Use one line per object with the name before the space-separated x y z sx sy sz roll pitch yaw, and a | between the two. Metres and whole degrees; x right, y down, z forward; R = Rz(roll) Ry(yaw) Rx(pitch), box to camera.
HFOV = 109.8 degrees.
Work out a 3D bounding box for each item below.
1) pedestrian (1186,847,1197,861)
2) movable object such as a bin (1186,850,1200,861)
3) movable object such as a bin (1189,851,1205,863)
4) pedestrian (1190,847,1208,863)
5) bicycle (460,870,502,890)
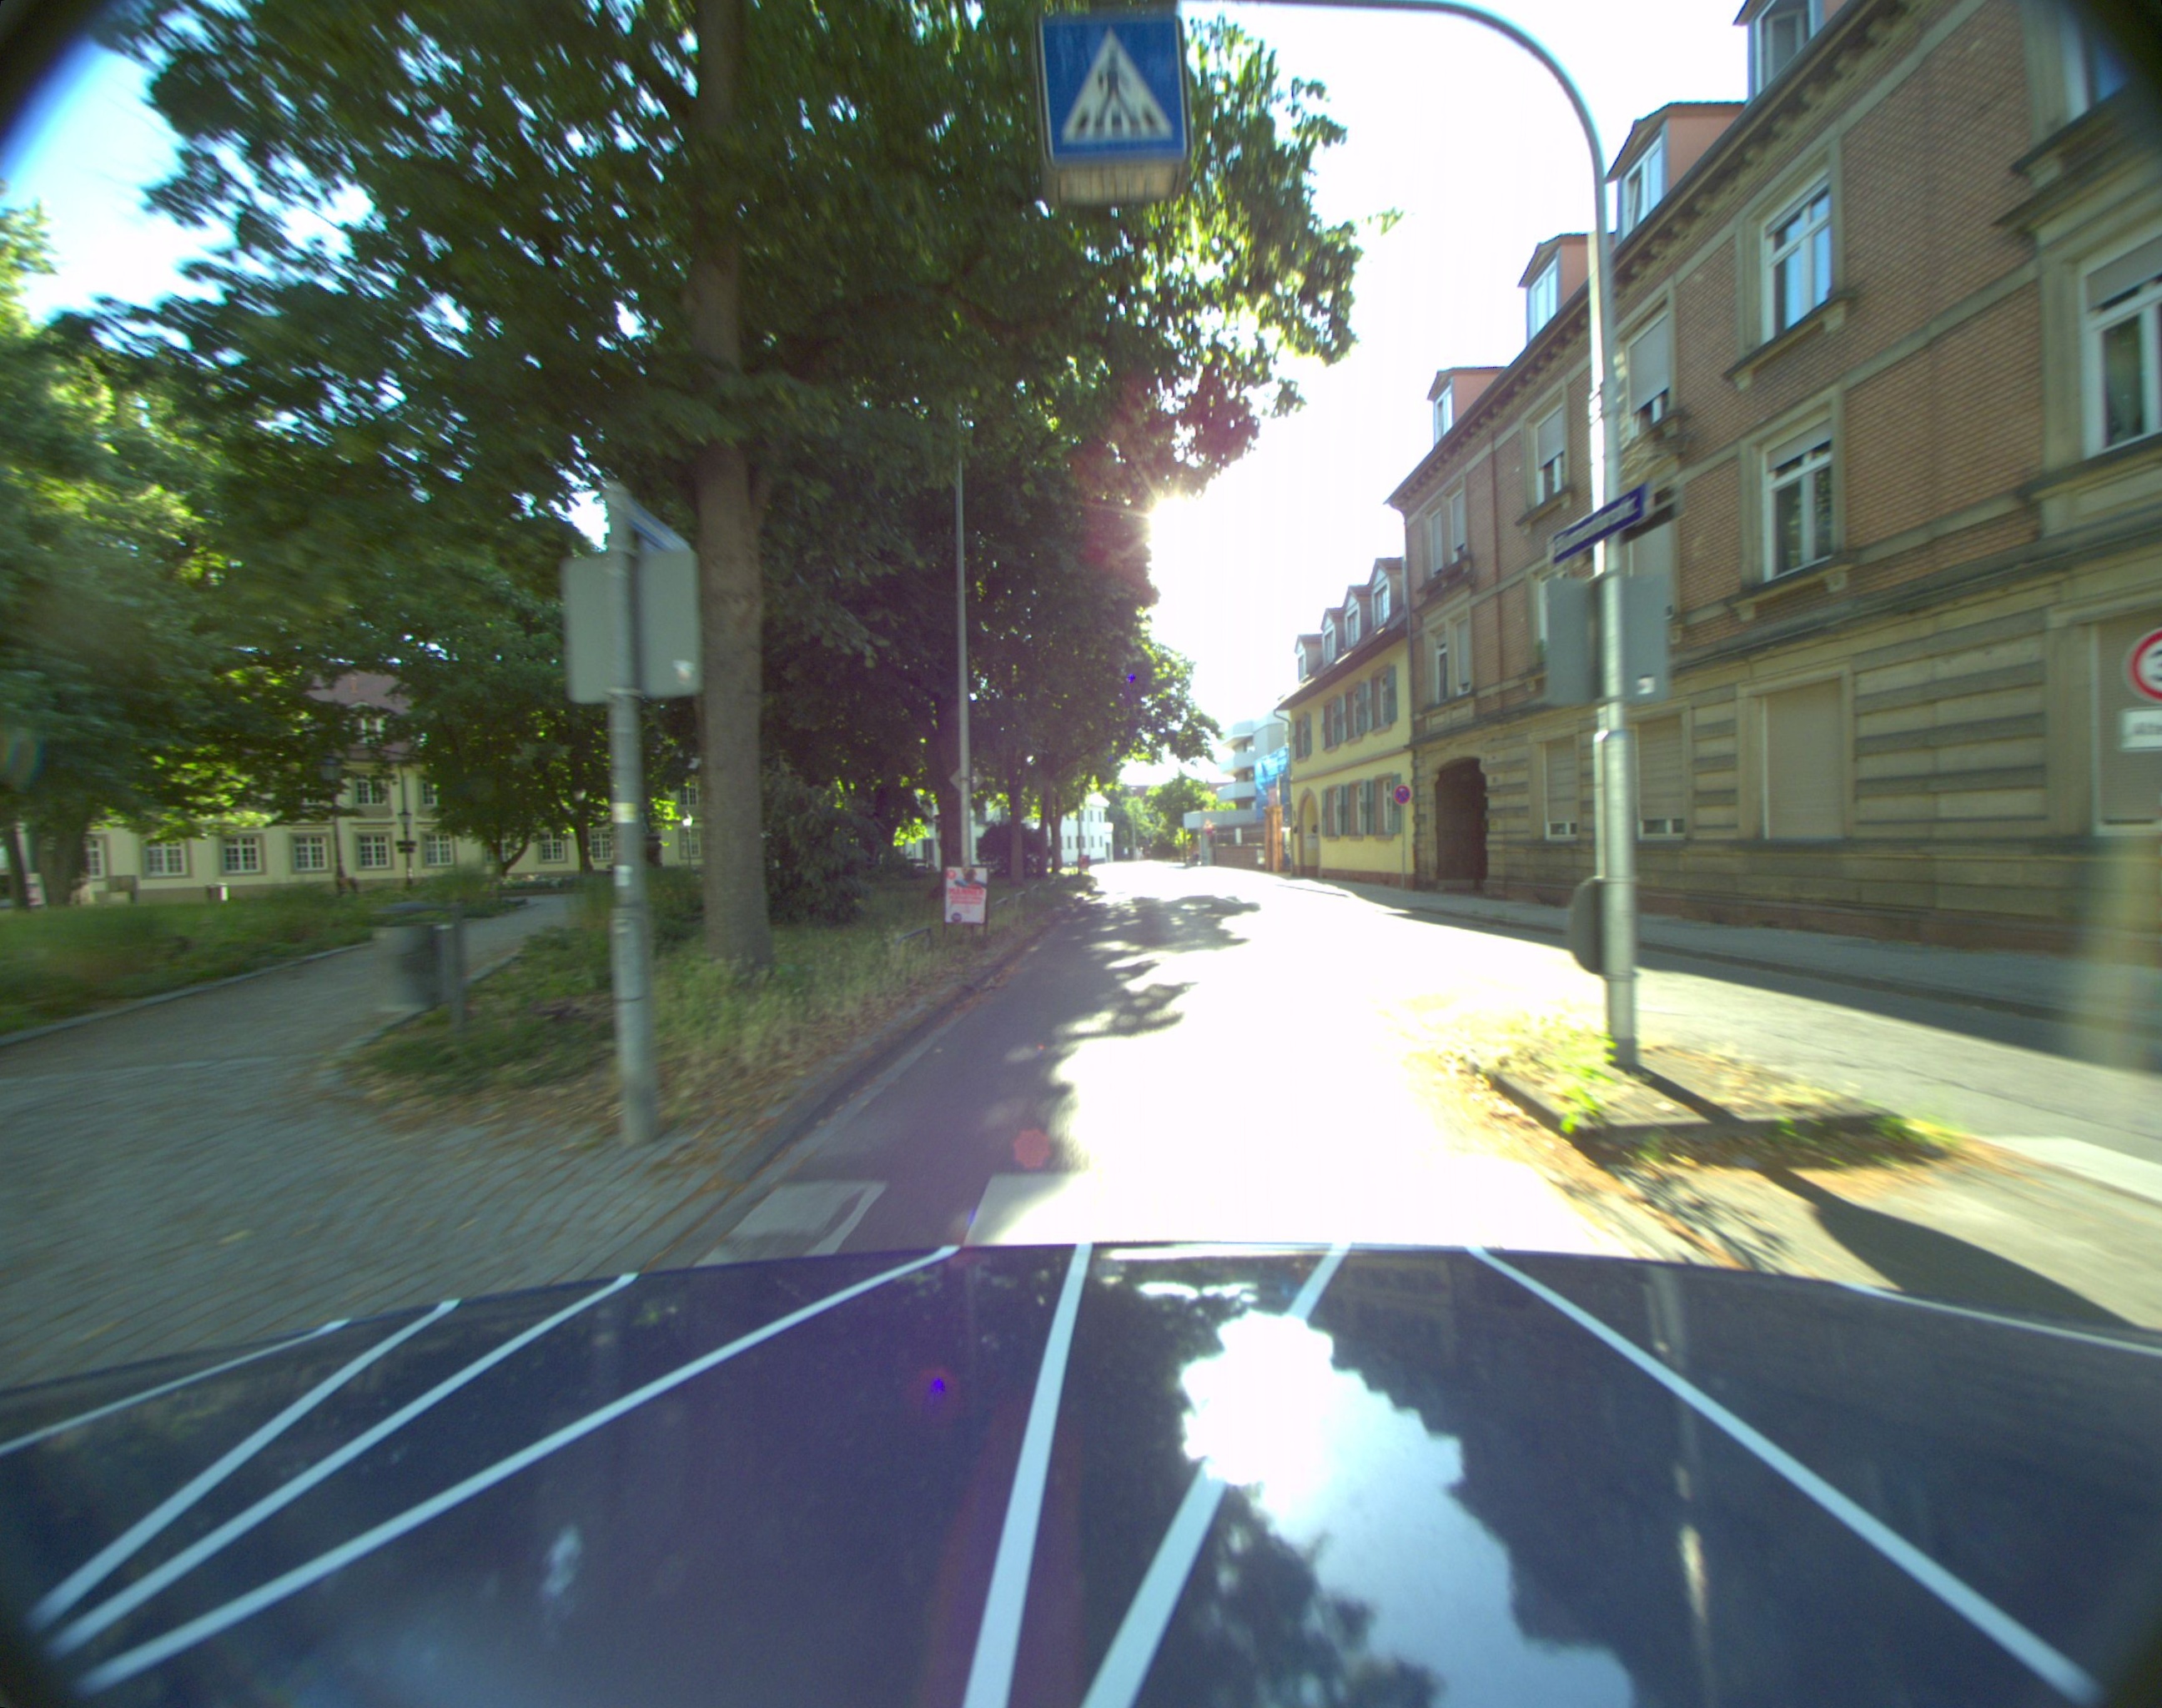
pedestrian | 10.140 -0.017 70.009 0.743 1.179 0.840 -4 2 -6
movable object such as a bin | 10.320 0.107 70.022 1.038 0.923 0.840 -4 1 -6
movable object such as a bin | 9.701 0.276 63.413 1.035 0.923 0.842 -3 2 35
pedestrian | 9.822 0.111 63.323 1.155 1.222 0.842 -3 2 35
bicycle | -33.305 1.424 42.215 1.767 1.027 0.720 -2 1 -38
